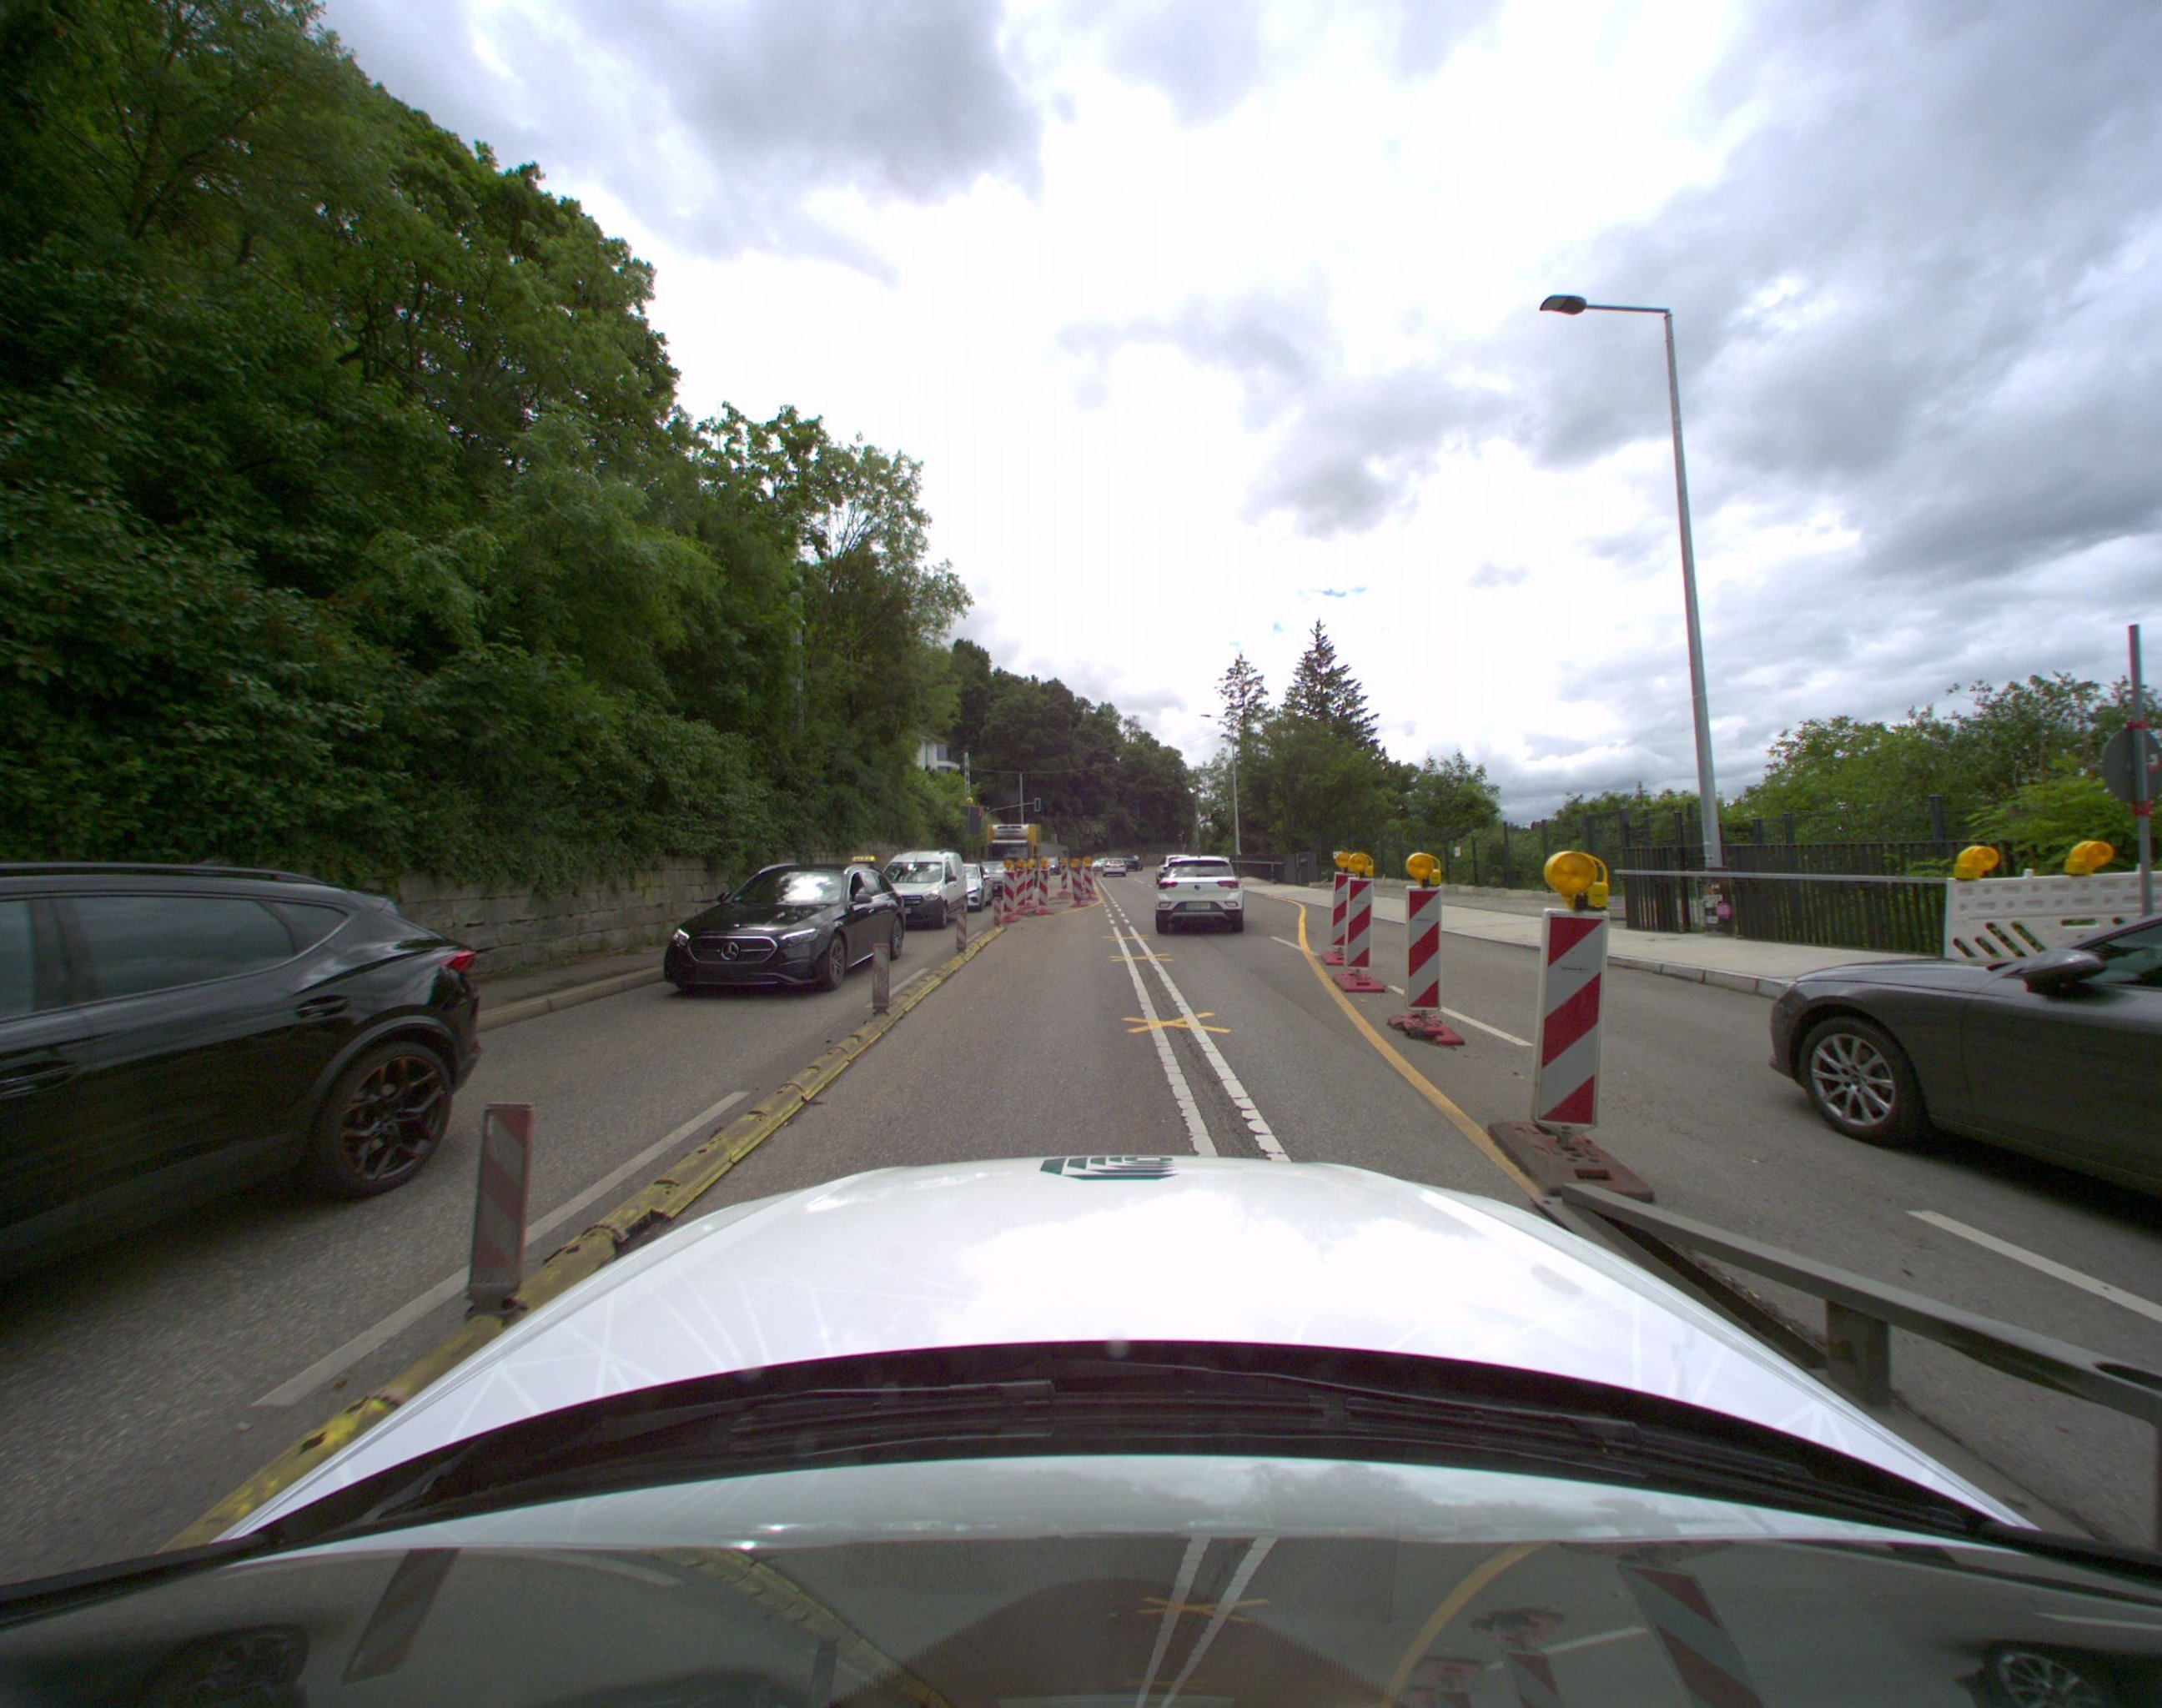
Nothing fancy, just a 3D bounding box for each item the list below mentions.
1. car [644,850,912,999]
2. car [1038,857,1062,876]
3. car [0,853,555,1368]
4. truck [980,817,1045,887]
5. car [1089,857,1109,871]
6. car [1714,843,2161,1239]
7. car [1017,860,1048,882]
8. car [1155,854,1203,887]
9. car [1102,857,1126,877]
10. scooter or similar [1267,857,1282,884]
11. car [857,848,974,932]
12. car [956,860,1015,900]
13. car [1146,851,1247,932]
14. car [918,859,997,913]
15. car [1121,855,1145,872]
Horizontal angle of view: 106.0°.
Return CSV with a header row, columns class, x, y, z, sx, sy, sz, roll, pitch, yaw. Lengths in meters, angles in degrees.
class,x,y,z,sx,sy,sz,roll,pitch,yaw
car,-3.714,0.777,11.029,1.825,1.592,4.654,0,-1,1
car,-2.782,1.108,73.748,1.877,1.697,4.671,-1,0,0
car,-4.016,0.736,2.574,1.822,1.485,4.318,0,-1,1
truck,-3.631,-0.057,44.877,2.721,3.510,7.351,-1,-1,1
car,2.001,1.118,89.543,1.701,1.466,3.669,0,0,9
car,4.876,0.676,2.808,1.834,1.455,4.628,-1,0,1
car,-3.350,1.138,57.215,1.803,1.430,4.874,-1,0,0
car,4.948,0.841,41.685,1.987,1.586,3.999,0,-1,0
car,2.680,1.042,65.878,1.899,1.574,4.002,0,-1,2
scooter or similar,9.515,0.799,40.130,0.531,1.226,1.208,-3,0,7
car,-3.821,0.784,19.571,1.796,1.790,4.343,0,-1,1
car,-3.723,0.989,32.456,1.765,1.441,4.745,0,-1,0
car,2.593,0.744,17.542,1.854,1.536,3.816,-1,-1,12
car,-3.708,0.925,25.145,1.786,1.507,4.310,0,-1,0
car,5.458,0.999,85.720,1.802,1.689,4.015,0,-1,14
